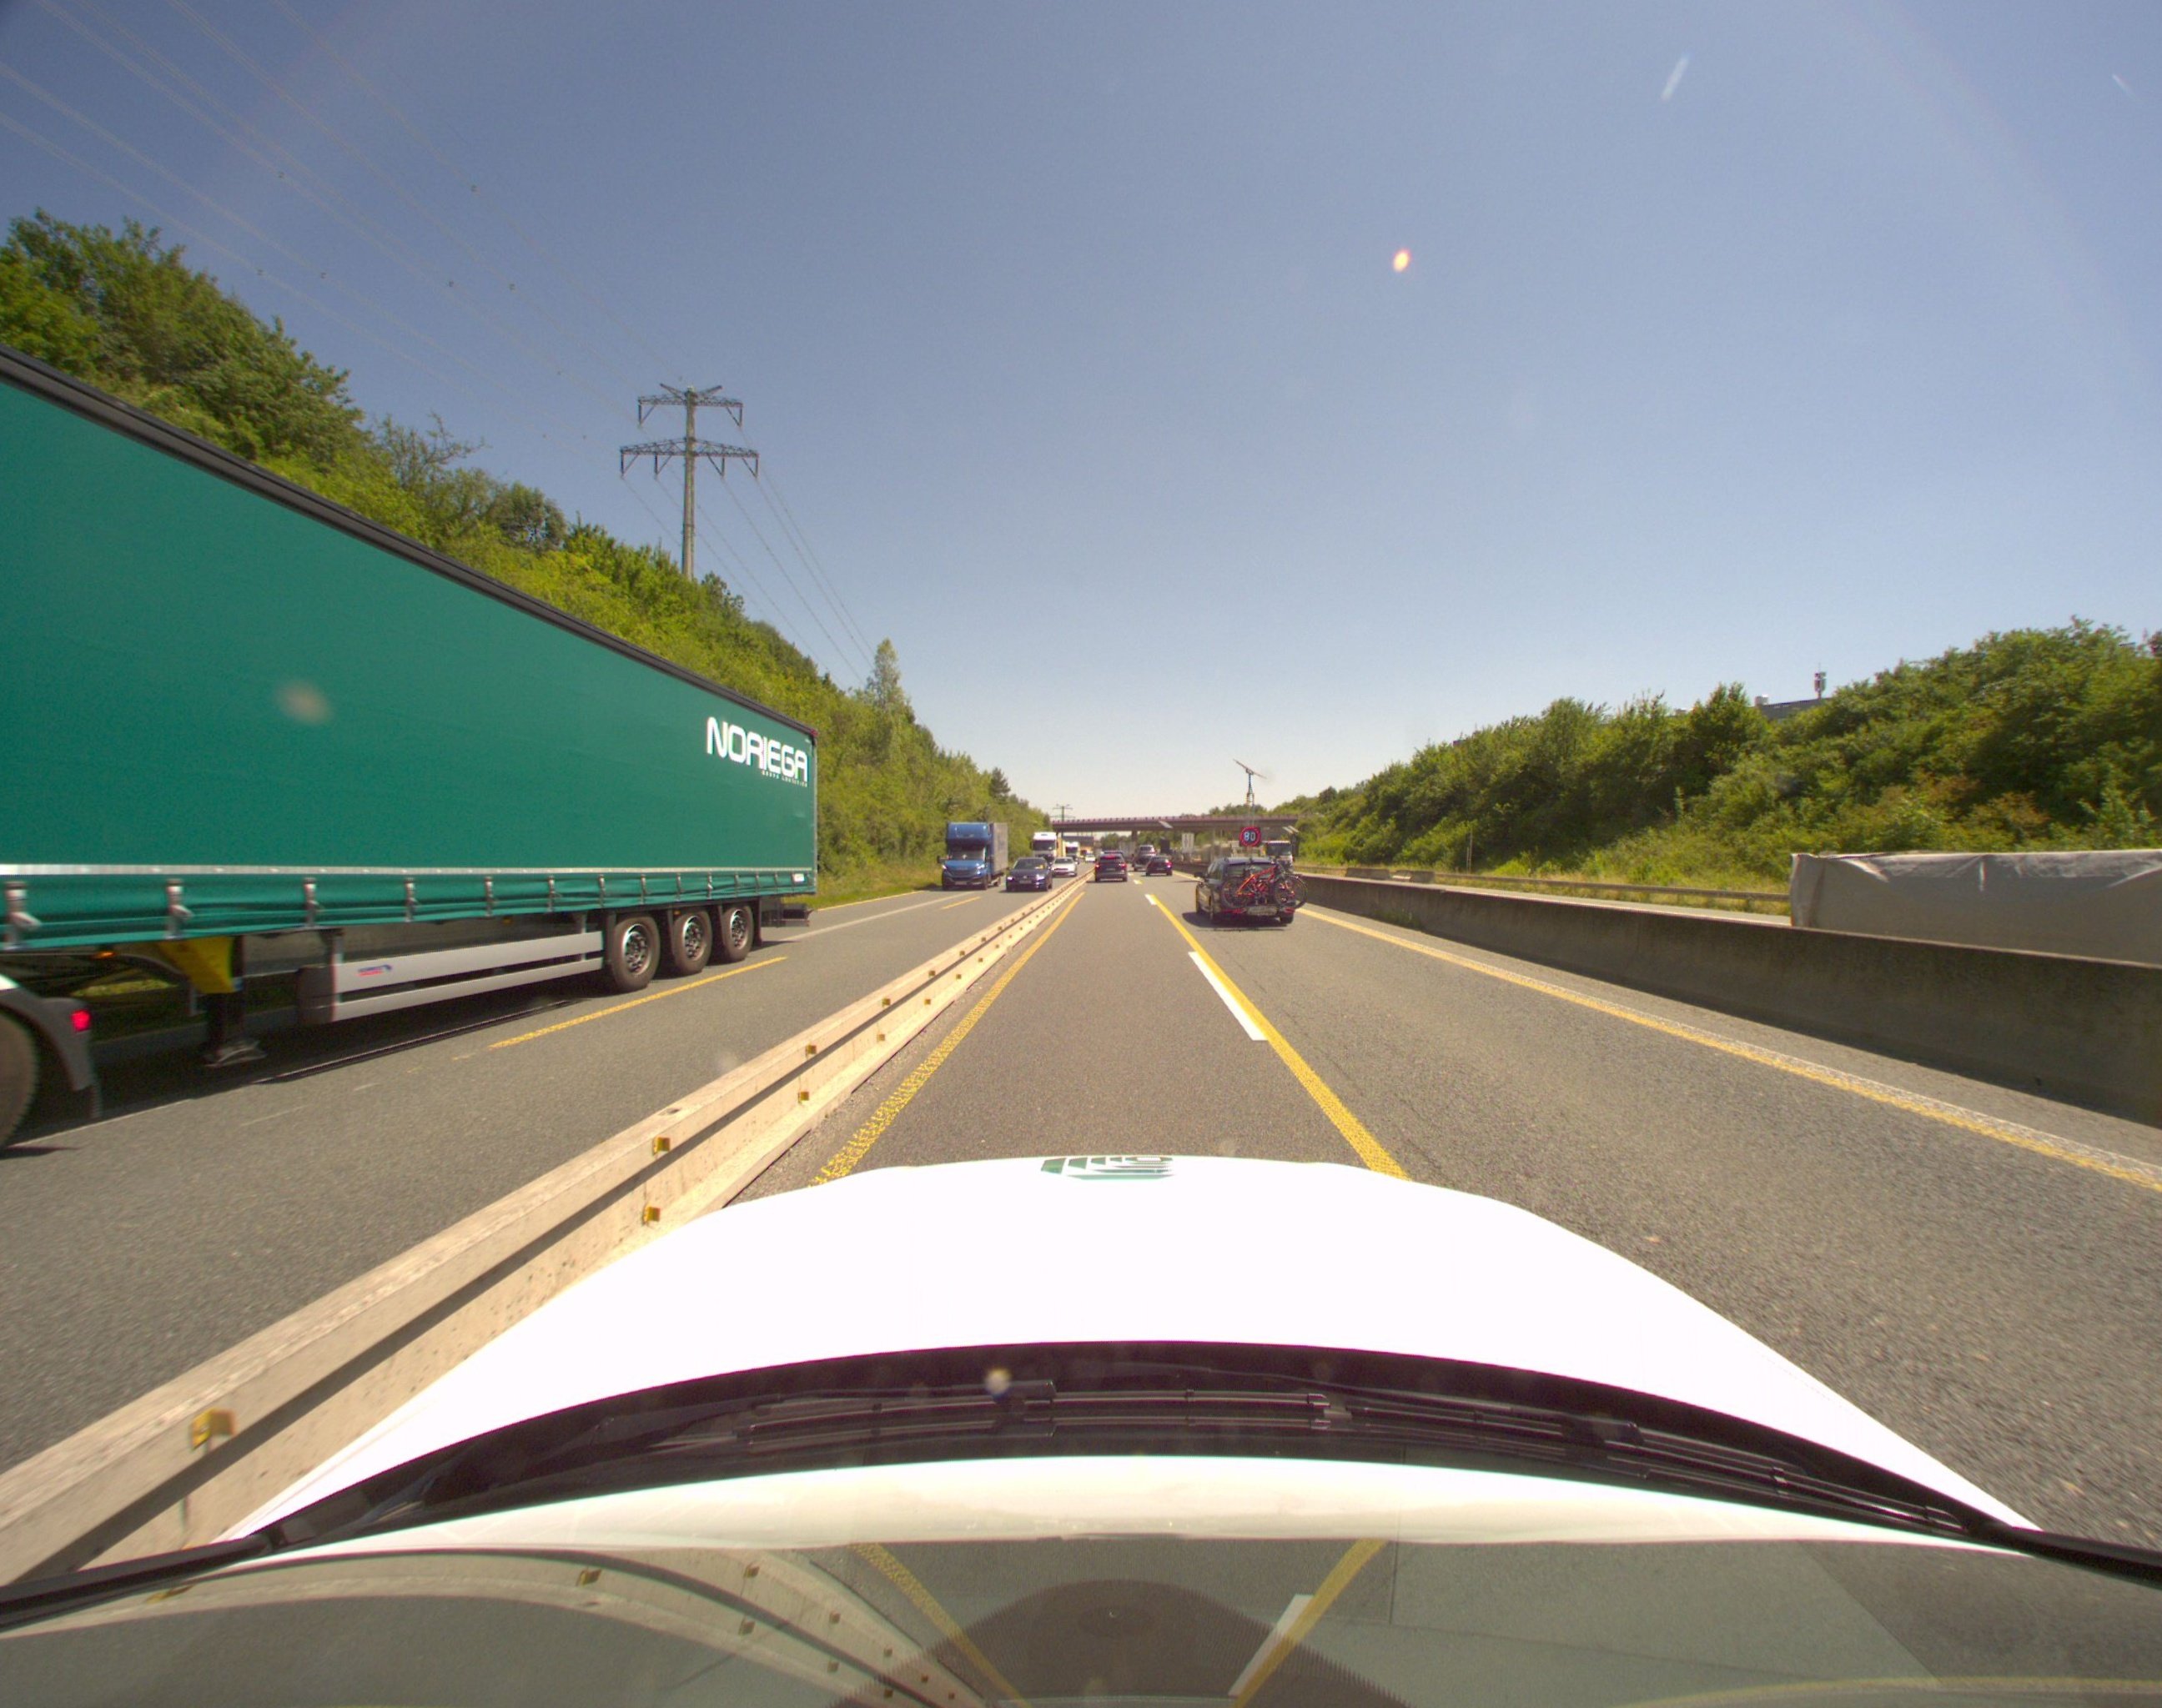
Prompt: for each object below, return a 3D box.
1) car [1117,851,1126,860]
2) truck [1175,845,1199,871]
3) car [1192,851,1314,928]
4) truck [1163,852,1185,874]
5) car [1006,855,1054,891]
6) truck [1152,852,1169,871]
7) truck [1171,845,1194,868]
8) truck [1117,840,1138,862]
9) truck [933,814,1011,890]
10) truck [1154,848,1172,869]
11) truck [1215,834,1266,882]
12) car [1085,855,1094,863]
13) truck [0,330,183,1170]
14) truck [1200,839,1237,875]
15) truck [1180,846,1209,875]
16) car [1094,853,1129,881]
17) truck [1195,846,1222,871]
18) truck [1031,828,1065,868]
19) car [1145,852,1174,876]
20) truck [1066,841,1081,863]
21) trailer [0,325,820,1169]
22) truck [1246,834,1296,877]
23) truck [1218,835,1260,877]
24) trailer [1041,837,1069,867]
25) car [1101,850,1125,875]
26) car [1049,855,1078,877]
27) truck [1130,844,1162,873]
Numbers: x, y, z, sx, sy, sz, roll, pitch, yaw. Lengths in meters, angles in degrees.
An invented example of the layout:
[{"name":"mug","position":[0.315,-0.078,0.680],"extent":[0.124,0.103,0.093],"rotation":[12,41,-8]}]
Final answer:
[{"name":"car","position":[9.066,0.318,180.928],"extent":[1.891,1.968,4.279],"rotation":[0,0,3]},{"name":"truck","position":[15.098,0.537,116.551],"extent":[2.675,3.557,9.415],"rotation":[-1,0,4]},{"name":"car","position":[3.685,0.713,18.326],"extent":[1.891,1.490,4.950],"rotation":[0,-1,3]},{"name":"truck","position":[15.728,1.484,138.122],"extent":[2.678,3.557,9.326],"rotation":[-1,0,1]},{"name":"car","position":[-2.200,0.812,35.924],"extent":[1.755,1.490,4.402],"rotation":[0,-1,1]},{"name":"truck","position":[16.365,1.495,168.185],"extent":[2.677,3.856,9.327],"rotation":[-1,0,1]},{"name":"truck","position":[15.958,0.385,128.873],"extent":[2.678,3.557,9.326],"rotation":[-1,0,1]},{"name":"truck","position":[8.251,-0.487,145.835],"extent":[3.282,3.845,10.107],"rotation":[-1,0,0]},{"name":"truck","position":[-5.134,-0.117,39.763],"extent":[2.396,3.330,7.506],"rotation":[0,0,3]},{"name":"truck","position":[15.615,0.857,156.294],"extent":[2.677,3.761,9.327],"rotation":[-1,0,1]},{"name":"truck","position":[12.474,0.282,64.306],"extent":[2.523,3.511,9.100],"rotation":[-1,0,2]},{"name":"car","position":[1.744,0.969,163.690],"extent":[1.818,1.631,4.152],"rotation":[-1,-1,2]},{"name":"truck","position":[-6.811,-0.500,1.769],"extent":[2.884,4.118,6.023],"rotation":[-1,0,2]},{"name":"truck","position":[14.566,0.309,86.836],"extent":[2.529,3.557,9.606],"rotation":[-1,0,2]},{"name":"truck","position":[14.569,0.849,105.067],"extent":[2.677,3.557,9.607],"rotation":[-1,0,2]},{"name":"car","position":[1.779,0.726,46.784],"extent":[1.891,1.505,4.279],"rotation":[0,0,3]},{"name":"truck","position":[17.916,0.565,115.109],"extent":[2.676,3.378,9.609],"rotation":[-1,0,3]},{"name":"truck","position":[-3.454,-0.603,87.363],"extent":[2.639,3.992,9.657],"rotation":[1,0,3]},{"name":"car","position":[5.597,0.705,58.338],"extent":[1.891,1.585,4.279],"rotation":[0,0,3]},{"name":"truck","position":[-1.380,-0.367,151.340],"extent":[2.400,3.992,10.356],"rotation":[0,0,2]},{"name":"trailer","position":[-6.551,-0.511,8.588],"extent":[2.880,4.125,13.250],"rotation":[0,0,2]},{"name":"truck","position":[16.646,0.137,71.897],"extent":[2.677,3.511,8.383],"rotation":[-1,0,2]},{"name":"truck","position":[14.324,0.180,74.398],"extent":[2.523,3.511,8.950],"rotation":[-1,0,3]},{"name":"trailer","position":[-3.004,-0.269,96.638],"extent":[2.639,3.336,8.925],"rotation":[1,0,3]},{"name":"car","position":[2.667,0.704,66.931],"extent":[1.891,1.968,4.279],"rotation":[0,0,3]},{"name":"car","position":[-1.225,0.885,59.006],"extent":[1.835,1.490,4.512],"rotation":[-2,-1,2]},{"name":"truck","position":[5.996,0.362,75.996],"extent":[2.397,2.558,7.501],"rotation":[0,0,1]}]
